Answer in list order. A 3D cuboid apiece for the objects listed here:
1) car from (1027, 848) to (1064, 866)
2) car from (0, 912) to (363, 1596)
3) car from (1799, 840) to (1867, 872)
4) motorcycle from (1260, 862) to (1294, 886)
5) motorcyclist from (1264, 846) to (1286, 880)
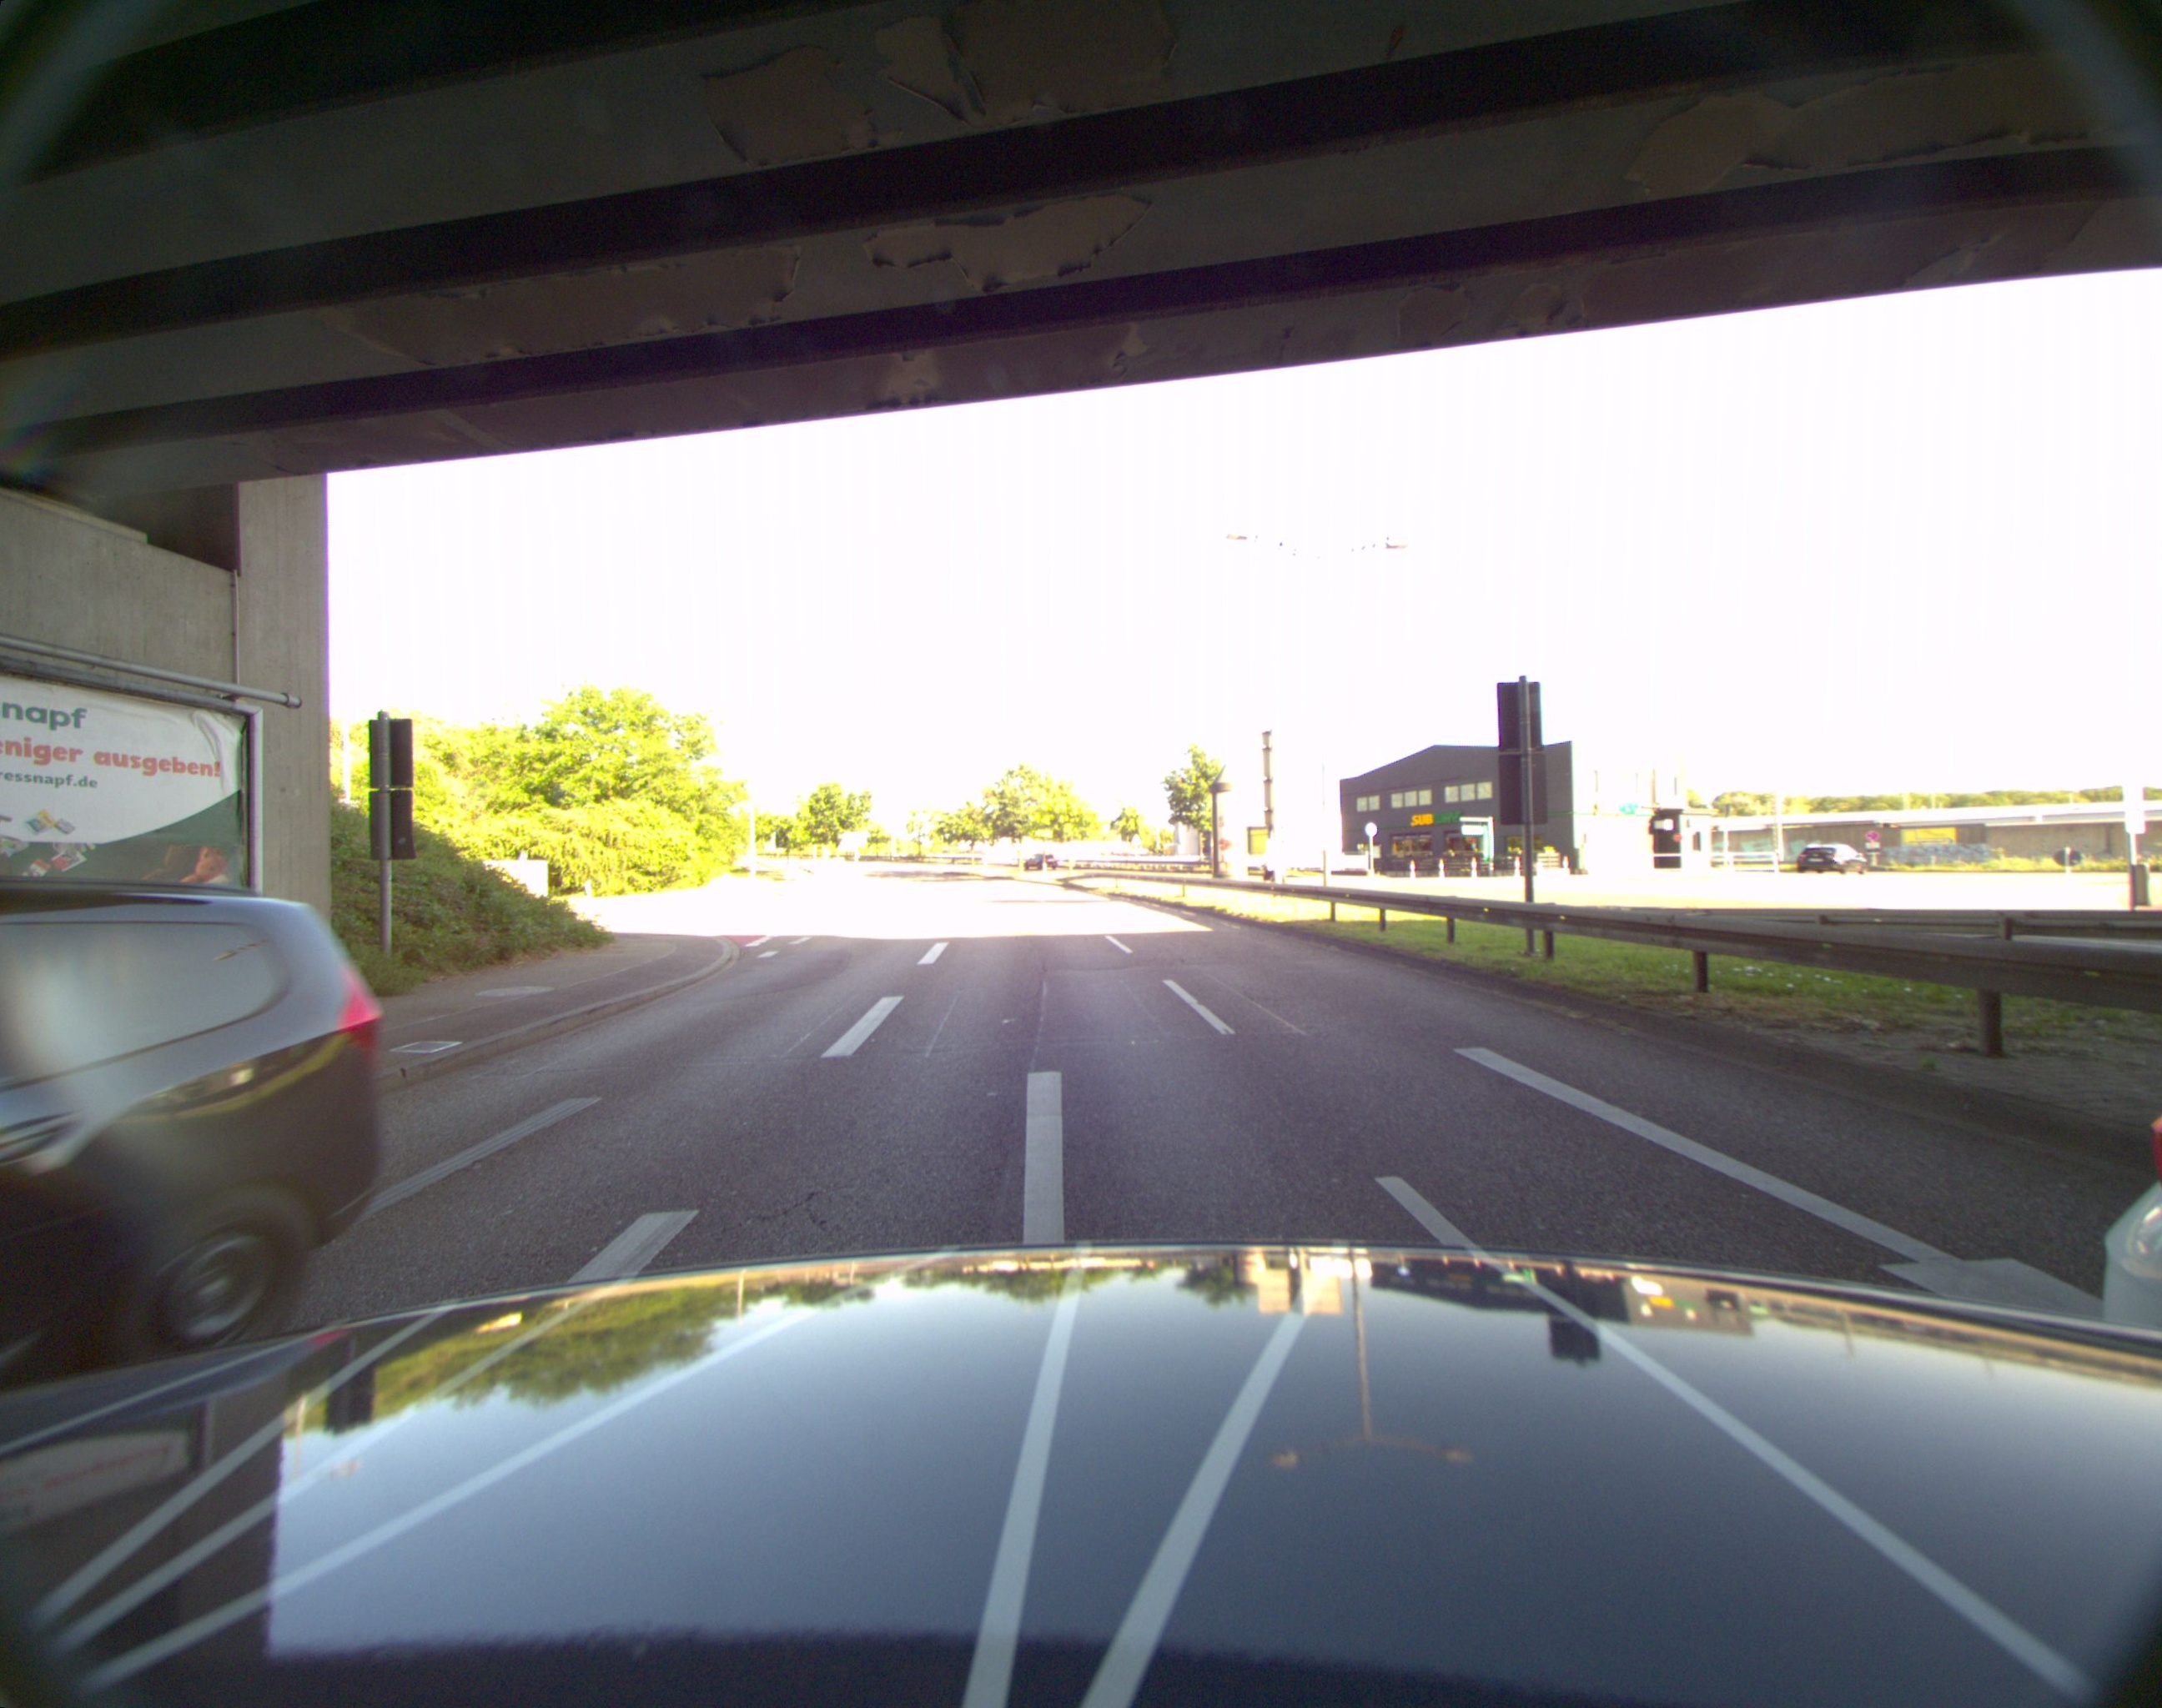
[{"bbox_3d":[-3.563,0.297,75.588,1.860,1.607,4.354,-3,1,-30],"label":"car"},{"bbox_3d":[-3.494,1.032,0.715,1.779,1.591,4.104,-3,0,-2],"label":"car"},{"bbox_3d":[38.464,0.088,38.858,4.007,1.434,1.878,-3,1,-37],"label":"car"},{"bbox_3d":[8.764,0.889,34.093,0.695,1.021,2.007,-2,0,-10],"label":"motorcycle"},{"bbox_3d":[8.739,0.416,34.167,0.699,1.518,0.697,-1,0,-10],"label":"motorcyclist"}]
